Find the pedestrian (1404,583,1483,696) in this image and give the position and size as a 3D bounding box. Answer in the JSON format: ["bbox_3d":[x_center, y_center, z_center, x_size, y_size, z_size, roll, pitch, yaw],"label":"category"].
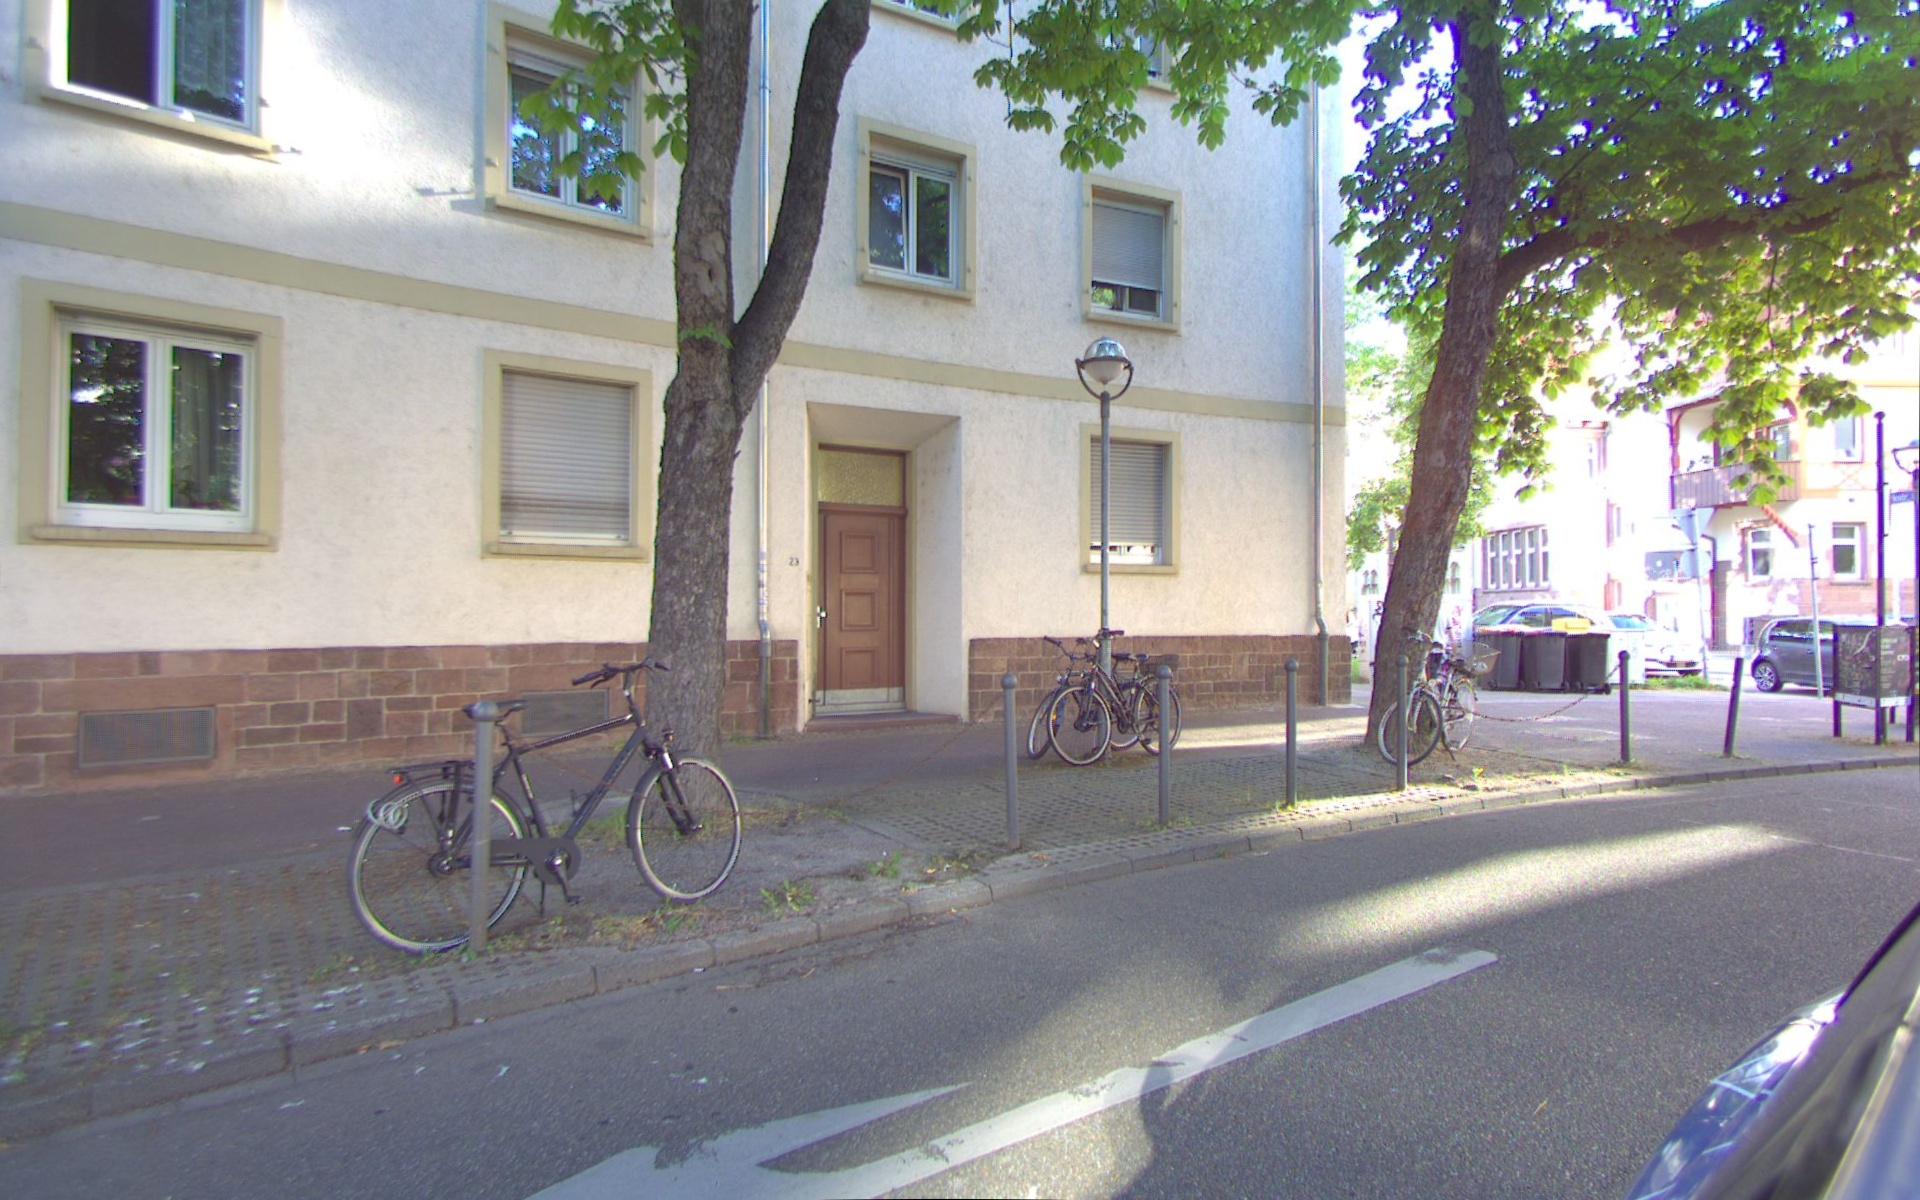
[{"bbox_3d":[7.107,0.555,14.917,0.629,1.612,0.946,0,0,-6],"label":"pedestrian"}]

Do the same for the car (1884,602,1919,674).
[{"bbox_3d":[21.639,0.831,21.215,1.463,1.559,3.217,1,0,-3],"label":"car"}]

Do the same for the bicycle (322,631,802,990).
[{"bbox_3d":[-1.697,0.784,4.552,1.882,1.238,0.718,0,-1,-43],"label":"bicycle"}]

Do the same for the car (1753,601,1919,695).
[{"bbox_3d":[16.850,0.823,18.316,1.663,1.572,4.053,0,-1,-3],"label":"car"}]

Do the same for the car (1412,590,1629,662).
[{"bbox_3d":[11.922,0.545,21.664,3.728,1.443,1.677,0,-1,-5],"label":"car"}]

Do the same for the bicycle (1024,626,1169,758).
[{"bbox_3d":[1.289,0.809,9.341,1.607,1.108,0.334,0,-1,-41],"label":"bicycle"}]

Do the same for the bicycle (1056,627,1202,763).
[{"bbox_3d":[1.549,0.812,9.099,1.607,1.108,0.334,0,-1,-41],"label":"bicycle"}]

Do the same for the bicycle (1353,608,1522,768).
[{"bbox_3d":[4.415,0.733,9.291,1.871,1.321,0.766,0,-1,-43],"label":"bicycle"}]

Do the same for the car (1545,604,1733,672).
[{"bbox_3d":[16.932,0.901,25.518,1.771,1.572,4.187,0,-1,-3],"label":"car"}]
